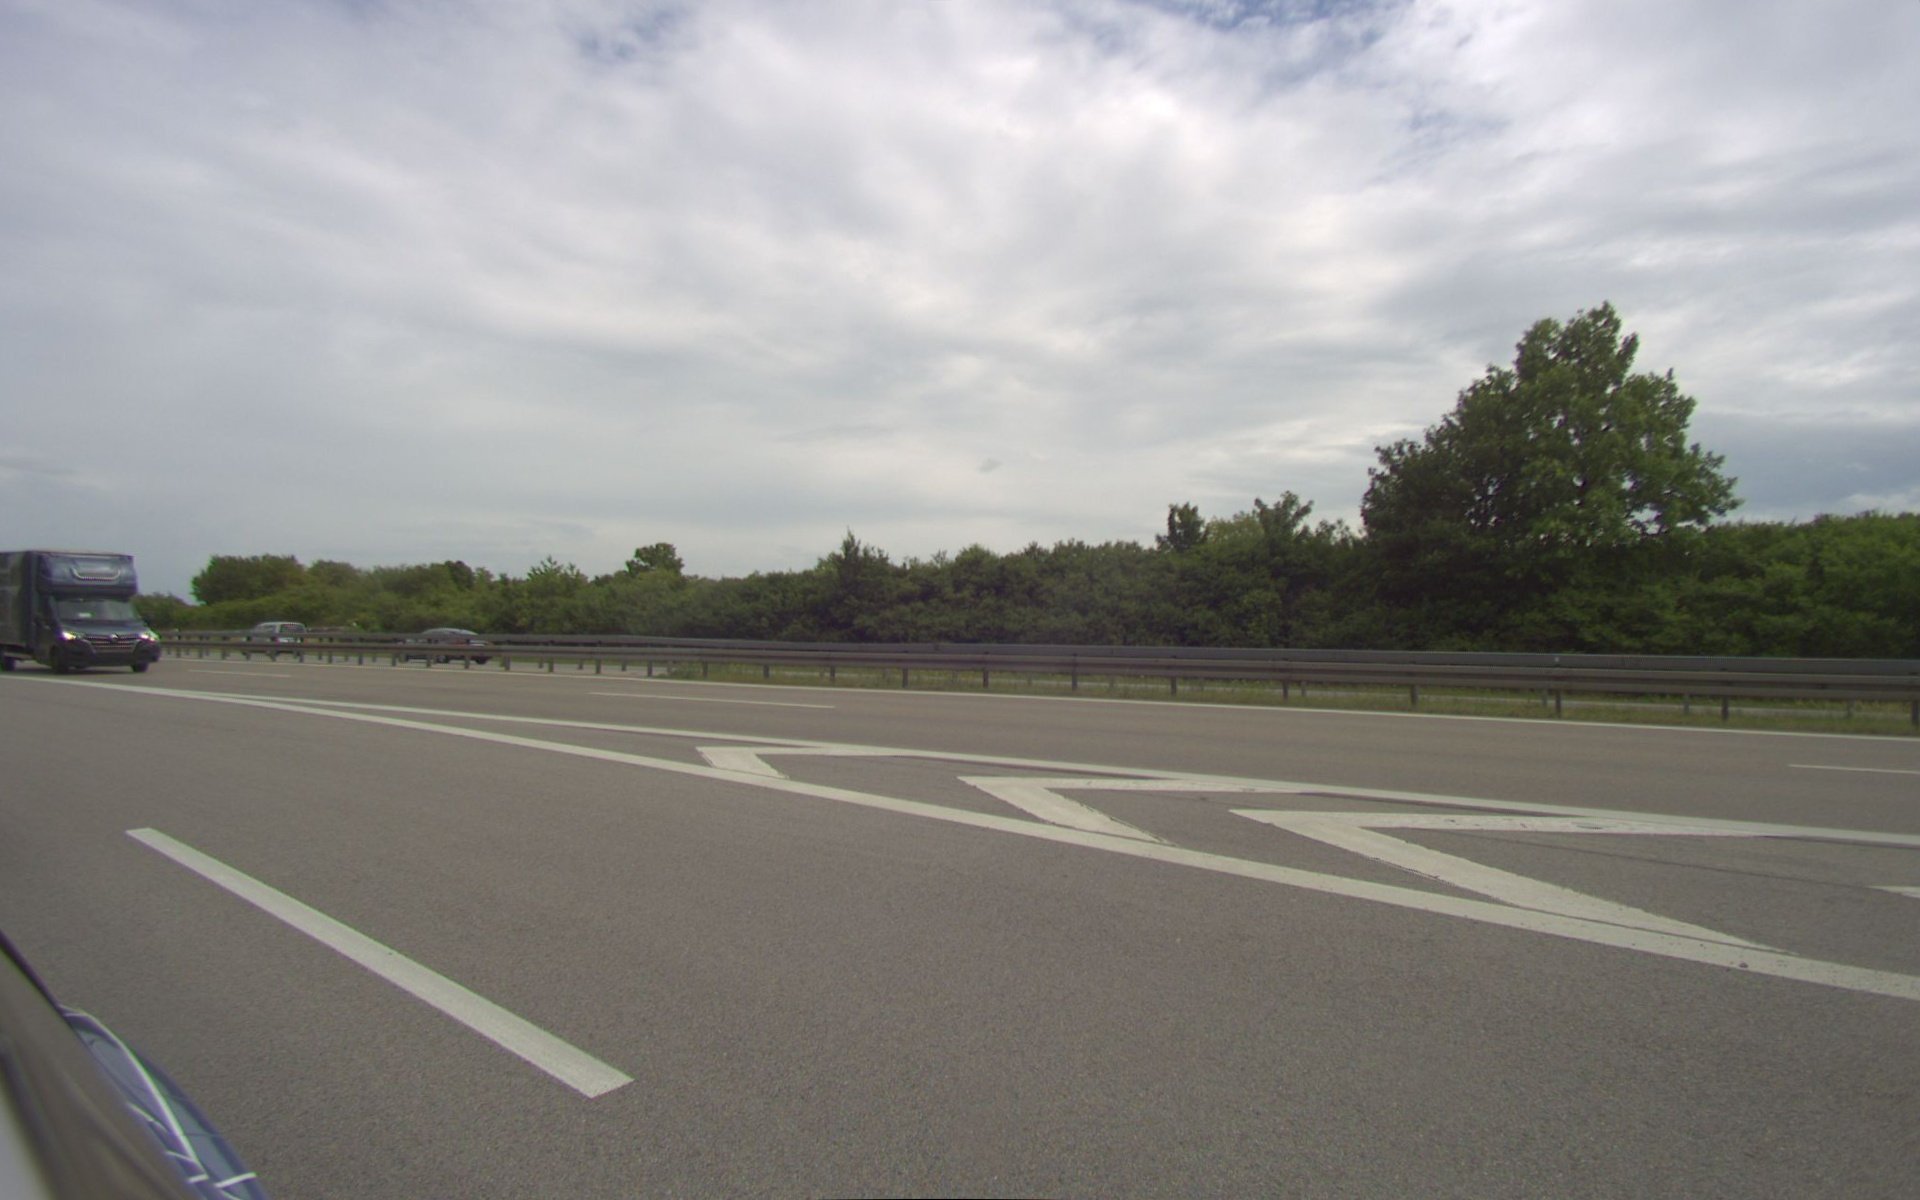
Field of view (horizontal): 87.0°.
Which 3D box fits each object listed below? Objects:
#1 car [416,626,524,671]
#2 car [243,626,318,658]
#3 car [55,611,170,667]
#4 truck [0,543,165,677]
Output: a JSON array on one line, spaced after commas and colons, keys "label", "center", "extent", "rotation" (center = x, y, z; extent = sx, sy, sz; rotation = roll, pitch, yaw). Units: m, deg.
[{"label": "car", "center": [-19.360, 1.876, 39.952], "extent": [3.985, 1.697, 1.979], "rotation": [-1, -2, 31]}, {"label": "car", "center": [-37.163, 2.277, 55.369], "extent": [3.987, 1.663, 1.978], "rotation": [-1, -2, 32]}, {"label": "car", "center": [-29.443, 1.343, 35.153], "extent": [3.988, 1.824, 1.977], "rotation": [-1, -2, 33]}, {"label": "truck", "center": [-25.647, 0.397, 28.722], "extent": [7.899, 3.397, 2.448], "rotation": [-2, -2, 33]}]
